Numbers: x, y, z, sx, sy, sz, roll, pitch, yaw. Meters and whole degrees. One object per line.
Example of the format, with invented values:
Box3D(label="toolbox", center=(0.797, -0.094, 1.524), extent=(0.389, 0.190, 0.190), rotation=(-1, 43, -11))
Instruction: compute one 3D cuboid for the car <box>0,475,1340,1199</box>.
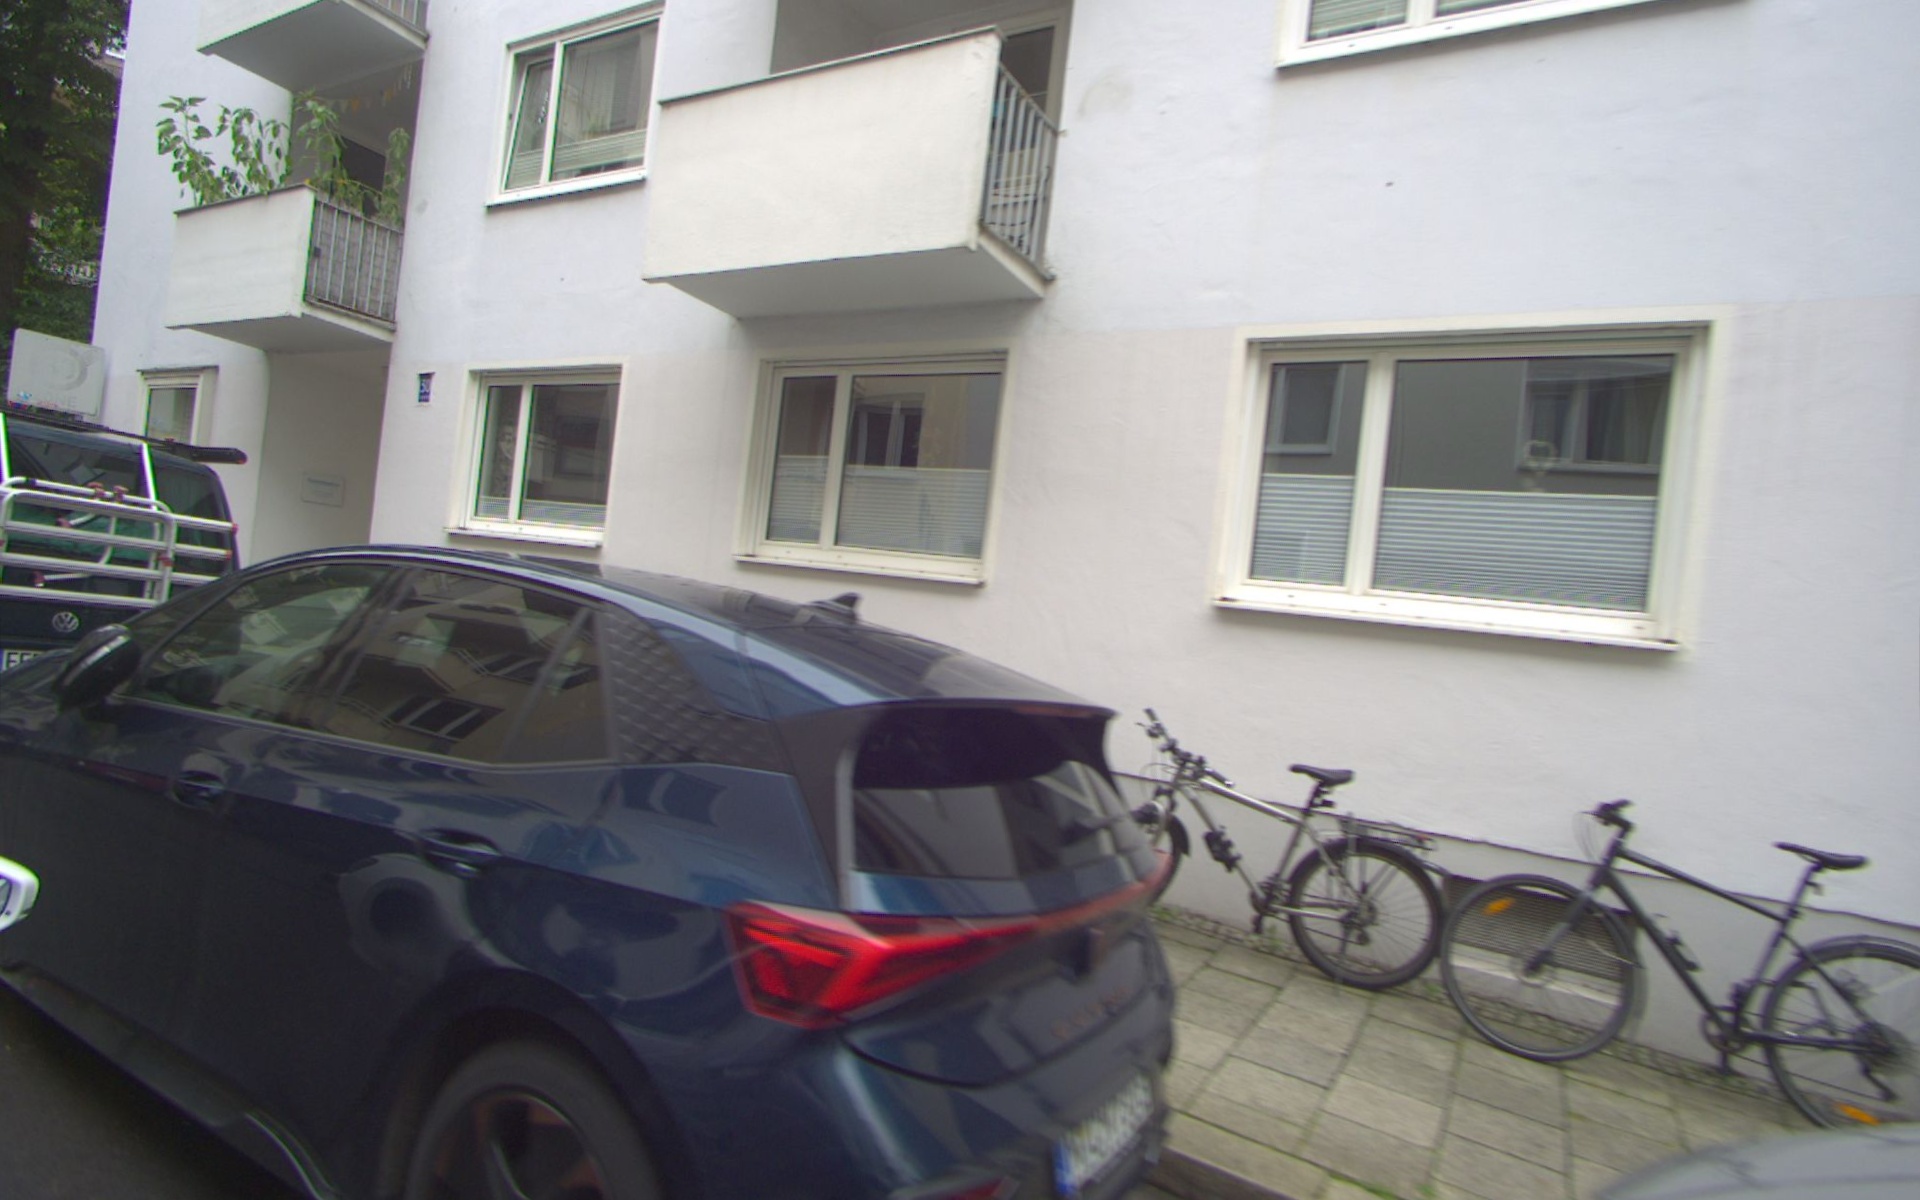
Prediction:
Box3D(label="car", center=(-1.445, 0.600, 3.140), extent=(4.548, 1.572, 1.909), rotation=(6, -1, 31))

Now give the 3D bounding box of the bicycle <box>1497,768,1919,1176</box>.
Box3D(label="bicycle", center=(2.867, 1.292, 3.658), extent=(1.496, 1.060, 0.478), rotation=(7, 0, 31))

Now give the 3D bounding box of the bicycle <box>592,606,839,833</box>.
Box3D(label="bicycle", center=(-1.571, 0.716, 6.399), extent=(1.406, 1.164, 0.572), rotation=(7, 0, 31))

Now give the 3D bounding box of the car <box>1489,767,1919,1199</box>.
Box3D(label="car", center=(2.649, 1.185, 0.514), extent=(4.188, 1.446, 1.766), rotation=(6, -4, 29))

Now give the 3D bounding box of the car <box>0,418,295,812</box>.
Box3D(label="car", center=(-6.300, -0.114, 6.033), extent=(4.702, 1.813, 1.877), rotation=(6, -1, 31))

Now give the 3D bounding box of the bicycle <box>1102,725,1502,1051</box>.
Box3D(label="bicycle", center=(1.493, 1.190, 4.497), extent=(1.526, 1.014, 0.478), rotation=(7, -1, 31))

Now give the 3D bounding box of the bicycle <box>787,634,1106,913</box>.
Box3D(label="bicycle", center=(-0.096, 0.869, 5.463), extent=(1.537, 1.164, 0.572), rotation=(7, 0, 31))
